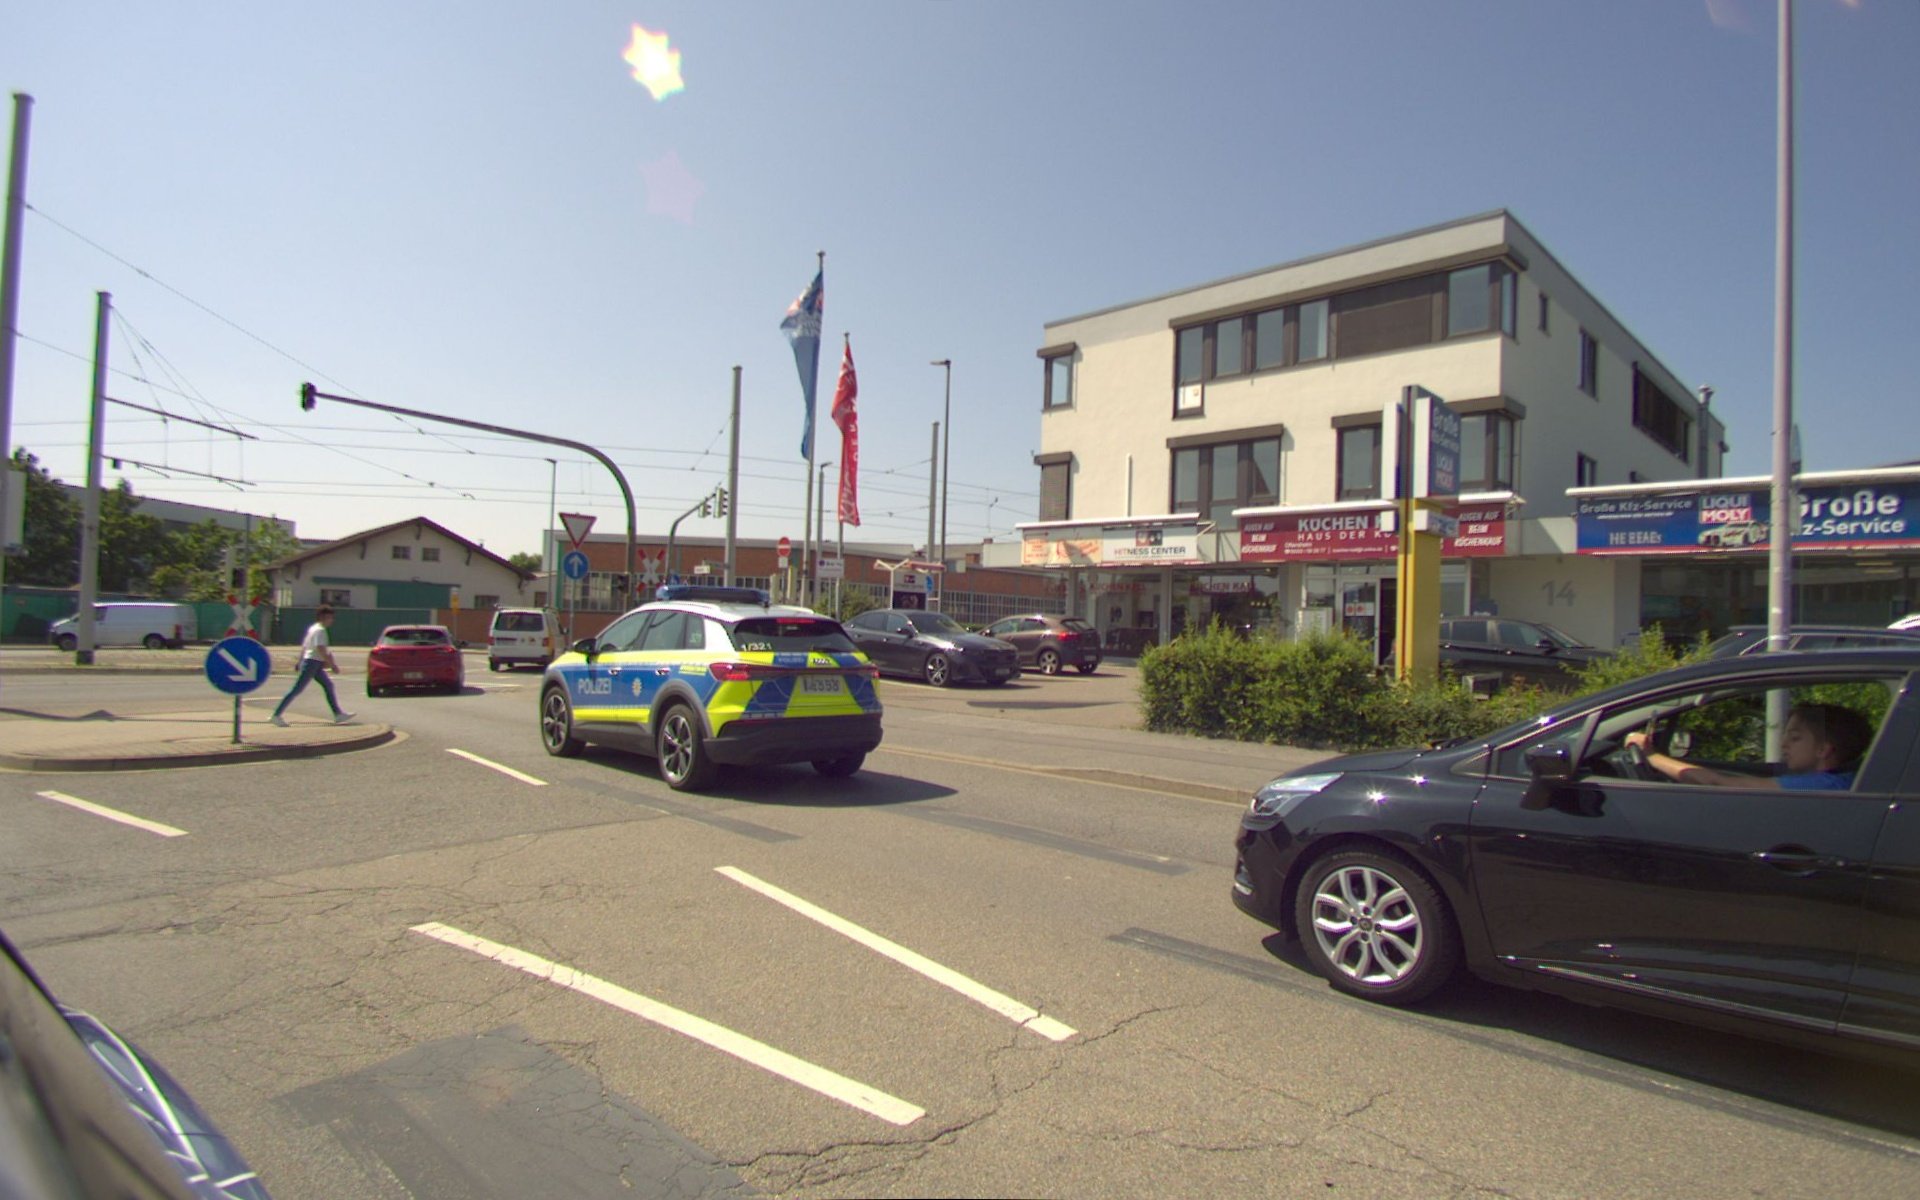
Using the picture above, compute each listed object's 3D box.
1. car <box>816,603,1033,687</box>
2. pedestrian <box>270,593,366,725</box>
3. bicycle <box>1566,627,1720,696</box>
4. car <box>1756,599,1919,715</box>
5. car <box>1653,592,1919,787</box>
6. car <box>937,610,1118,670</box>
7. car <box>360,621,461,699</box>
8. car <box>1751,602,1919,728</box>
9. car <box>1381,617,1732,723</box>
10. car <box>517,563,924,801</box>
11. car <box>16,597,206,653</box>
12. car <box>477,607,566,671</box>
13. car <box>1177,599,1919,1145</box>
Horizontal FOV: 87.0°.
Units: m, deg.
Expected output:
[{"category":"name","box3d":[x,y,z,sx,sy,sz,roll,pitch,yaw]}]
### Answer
[{"category":"car","box3d":[-0.875,0.939,21.594,1.885,1.585,4.822,4,-3,-44]},{"category":"pedestrian","box3d":[-8.680,0.792,13.685,0.981,1.698,0.801,3,-3,-36]},{"category":"bicycle","box3d":[13.289,1.193,19.742,2.451,1.291,0.700,1,-2,3]},{"category":"car","box3d":[15.970,0.942,16.548,1.885,1.830,4.422,4,-3,-44]},{"category":"car","box3d":[9.200,0.834,9.652,1.883,1.728,4.002,4,-4,-44]},{"category":"car","box3d":[1.620,1.000,25.626,1.885,1.399,4.488,4,-3,-44]},{"category":"car","box3d":[-11.806,1.248,21.777,1.738,1.465,4.121,0,-2,-29]},{"category":"car","box3d":[14.312,0.971,14.468,1.884,1.721,4.484,4,-1,-42]},{"category":"car","box3d":[9.216,1.022,15.921,1.885,1.432,4.422,4,-3,-44]},{"category":"car","box3d":[-2.498,0.687,9.782,1.870,1.772,4.357,4,-3,-43]},{"category":"car","box3d":[-34.341,1.041,41.123,5.438,2.149,2.219,1,-2,-15]},{"category":"car","box3d":[-14.402,1.298,33.493,1.964,1.962,4.449,2,-3,-15]},{"category":"car","box3d":[3.021,0.791,3.502,1.641,1.465,4.244,6,-5,-43]}]
